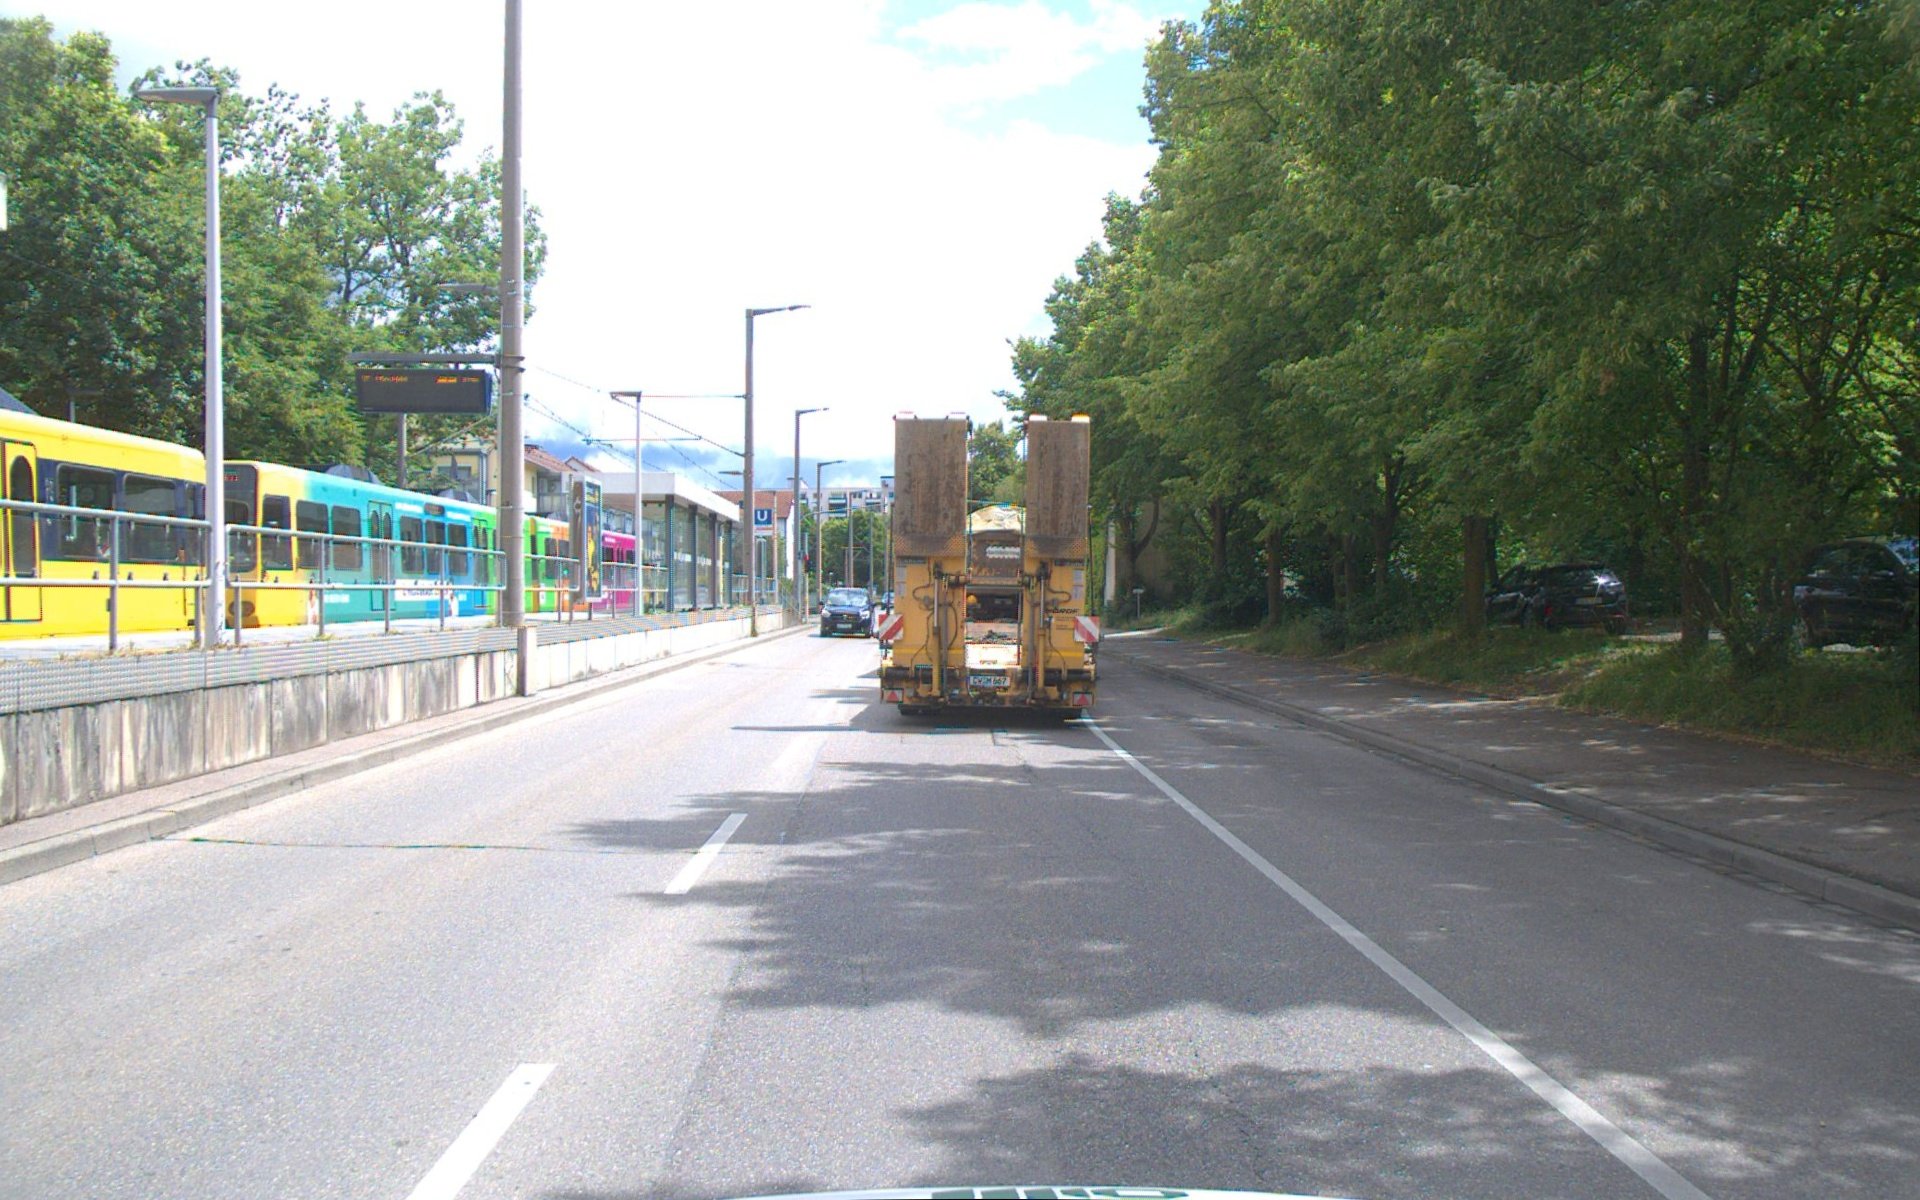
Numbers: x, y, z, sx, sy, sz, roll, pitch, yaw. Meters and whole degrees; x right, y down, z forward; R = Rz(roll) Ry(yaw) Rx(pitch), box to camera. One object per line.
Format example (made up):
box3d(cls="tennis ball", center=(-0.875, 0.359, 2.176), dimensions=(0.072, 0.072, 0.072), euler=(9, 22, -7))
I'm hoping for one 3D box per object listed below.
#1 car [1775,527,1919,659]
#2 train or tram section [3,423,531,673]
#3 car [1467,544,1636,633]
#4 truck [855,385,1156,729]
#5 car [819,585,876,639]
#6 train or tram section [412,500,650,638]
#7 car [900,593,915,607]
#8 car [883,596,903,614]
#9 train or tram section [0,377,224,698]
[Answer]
box3d(cls="car", center=(11.701, -0.105, 19.836), dimensions=(1.761, 1.489, 3.988), euler=(-2, 0, -2))
box3d(cls="train or tram section", center=(-12.487, -0.777, 33.494), dimensions=(3.045, 3.525, 19.192), euler=(2, 0, -2))
box3d(cls="car", center=(11.372, -0.209, 32.092), dimensions=(1.680, 1.534, 4.159), euler=(-3, 0, -1))
box3d(cls="truck", center=(0.080, -0.509, 25.204), dimensions=(3.335, 3.797, 13.728), euler=(0, 0, -4))
box3d(cls="car", center=(-3.797, 0.395, 56.358), dimensions=(1.686, 1.712, 4.386), euler=(2, 0, -1))
box3d(cls="train or tram section", center=(-12.976, -0.847, 52.678), dimensions=(3.045, 3.525, 19.083), euler=(2, 0, -2))
box3d(cls="car", center=(-5.798, 0.006, 183.440), dimensions=(1.633, 1.478, 3.678), euler=(2, -1, -2))
box3d(cls="car", center=(-5.752, 0.474, 142.312), dimensions=(1.633, 1.478, 3.678), euler=(2, -1, -2))
box3d(cls="train or tram section", center=(-11.974, -0.708, 14.413), dimensions=(3.045, 3.525, 18.990), euler=(2, 0, -2))
